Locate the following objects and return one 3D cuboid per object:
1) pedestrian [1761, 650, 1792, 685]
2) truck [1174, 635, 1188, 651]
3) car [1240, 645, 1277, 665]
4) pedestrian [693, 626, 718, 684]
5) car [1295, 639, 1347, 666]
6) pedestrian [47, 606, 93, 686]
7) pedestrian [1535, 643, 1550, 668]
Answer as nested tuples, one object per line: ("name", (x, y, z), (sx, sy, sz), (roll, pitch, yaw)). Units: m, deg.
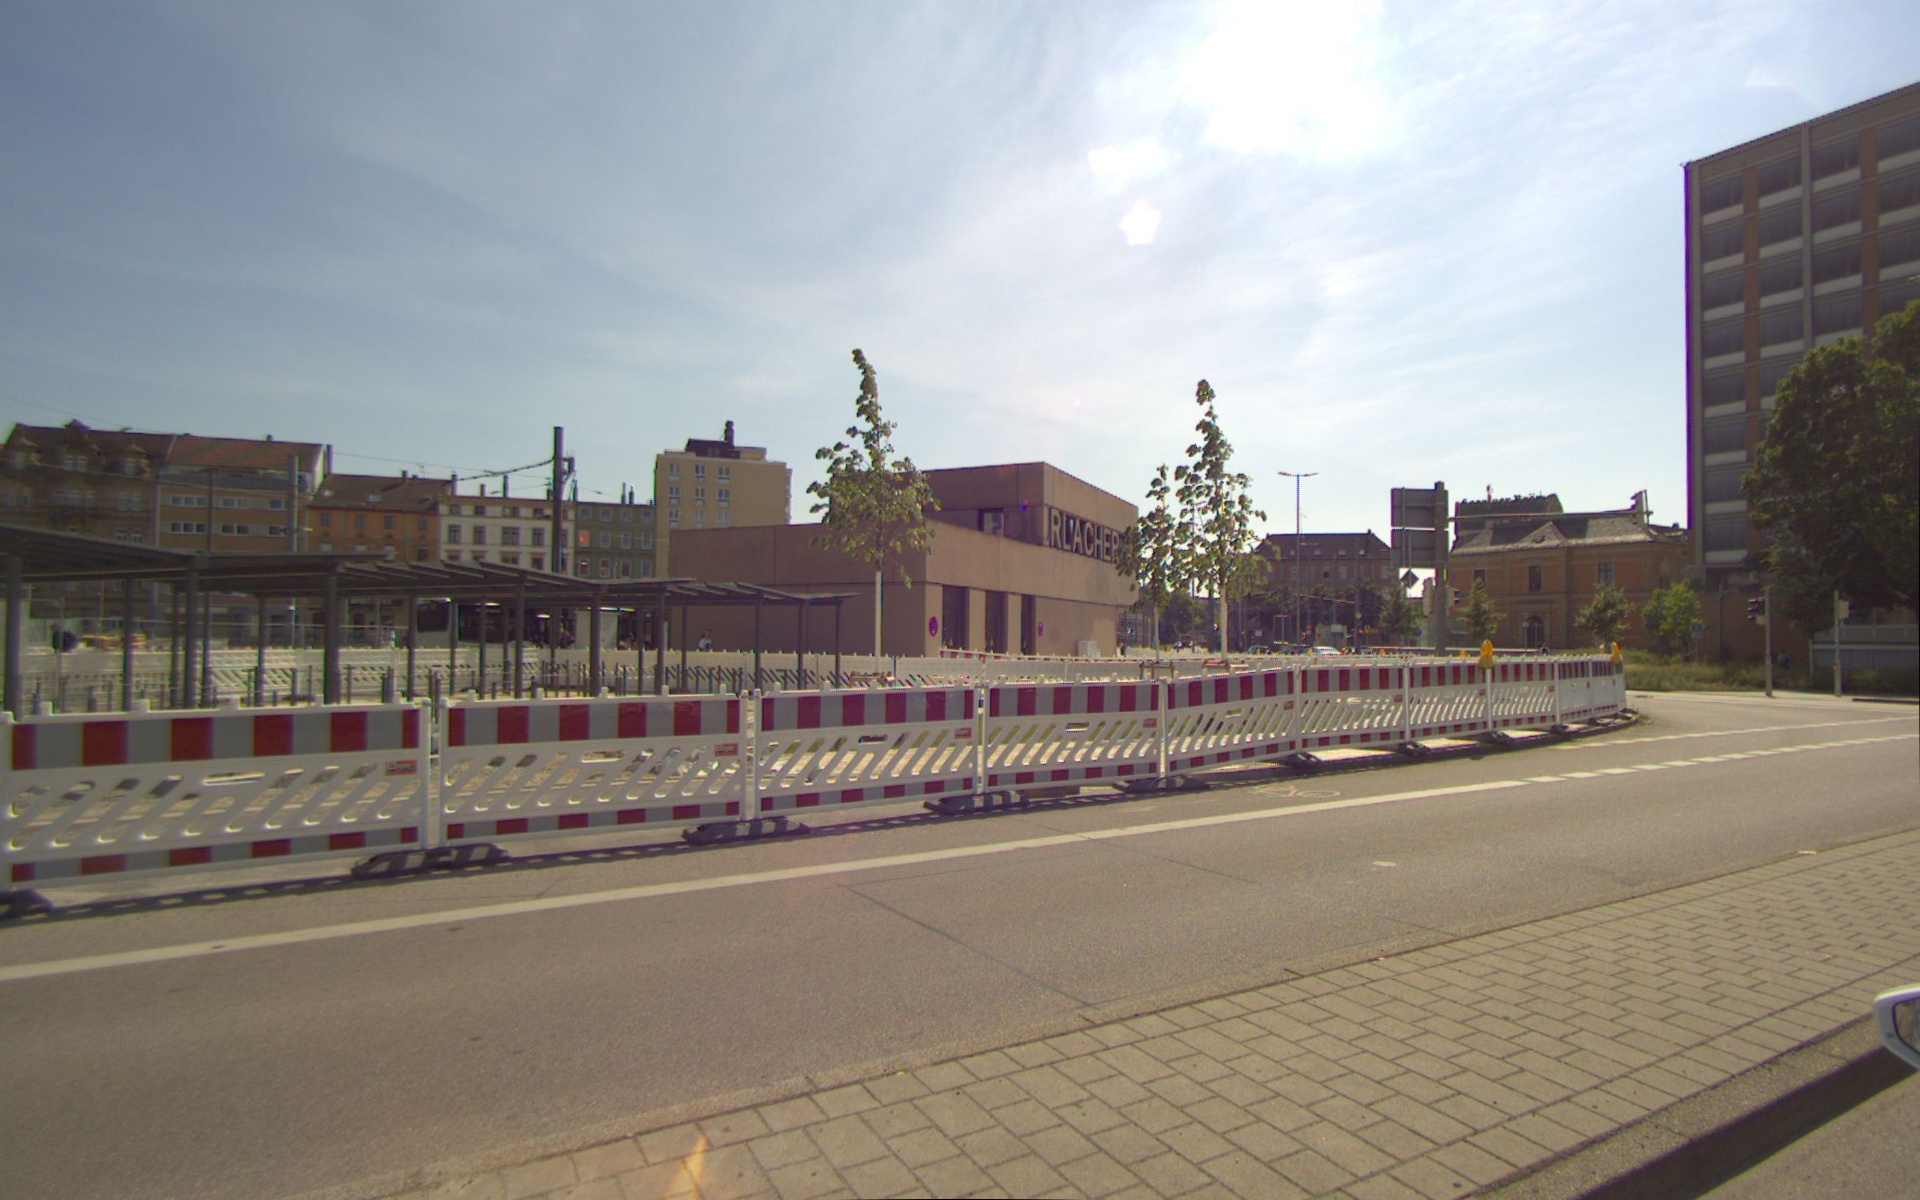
("pedestrian", (40.659, 3.352, 50.025), (0.857, 1.748, 0.799), (1, -2, -7))
("truck", (55.279, 10.829, 251.287), (3.011, 3.779, 7.937), (0, -2, 10))
("car", (23.812, 4.363, 80.222), (1.764, 1.530, 4.001), (1, -2, 1))
("pedestrian", (-7.070, 1.531, 27.884), (0.415, 1.585, 0.558), (0, -2, 21))
("car", (26.085, 3.792, 72.667), (1.963, 1.839, 3.996), (1, -2, -7))
("pedestrian", (-23.256, 1.204, 26.252), (0.807, 2.040, 0.684), (-1, -3, 35))
("pedestrian", (40.554, 3.837, 69.969), (0.637, 1.683, 0.650), (2, 0, -3))
